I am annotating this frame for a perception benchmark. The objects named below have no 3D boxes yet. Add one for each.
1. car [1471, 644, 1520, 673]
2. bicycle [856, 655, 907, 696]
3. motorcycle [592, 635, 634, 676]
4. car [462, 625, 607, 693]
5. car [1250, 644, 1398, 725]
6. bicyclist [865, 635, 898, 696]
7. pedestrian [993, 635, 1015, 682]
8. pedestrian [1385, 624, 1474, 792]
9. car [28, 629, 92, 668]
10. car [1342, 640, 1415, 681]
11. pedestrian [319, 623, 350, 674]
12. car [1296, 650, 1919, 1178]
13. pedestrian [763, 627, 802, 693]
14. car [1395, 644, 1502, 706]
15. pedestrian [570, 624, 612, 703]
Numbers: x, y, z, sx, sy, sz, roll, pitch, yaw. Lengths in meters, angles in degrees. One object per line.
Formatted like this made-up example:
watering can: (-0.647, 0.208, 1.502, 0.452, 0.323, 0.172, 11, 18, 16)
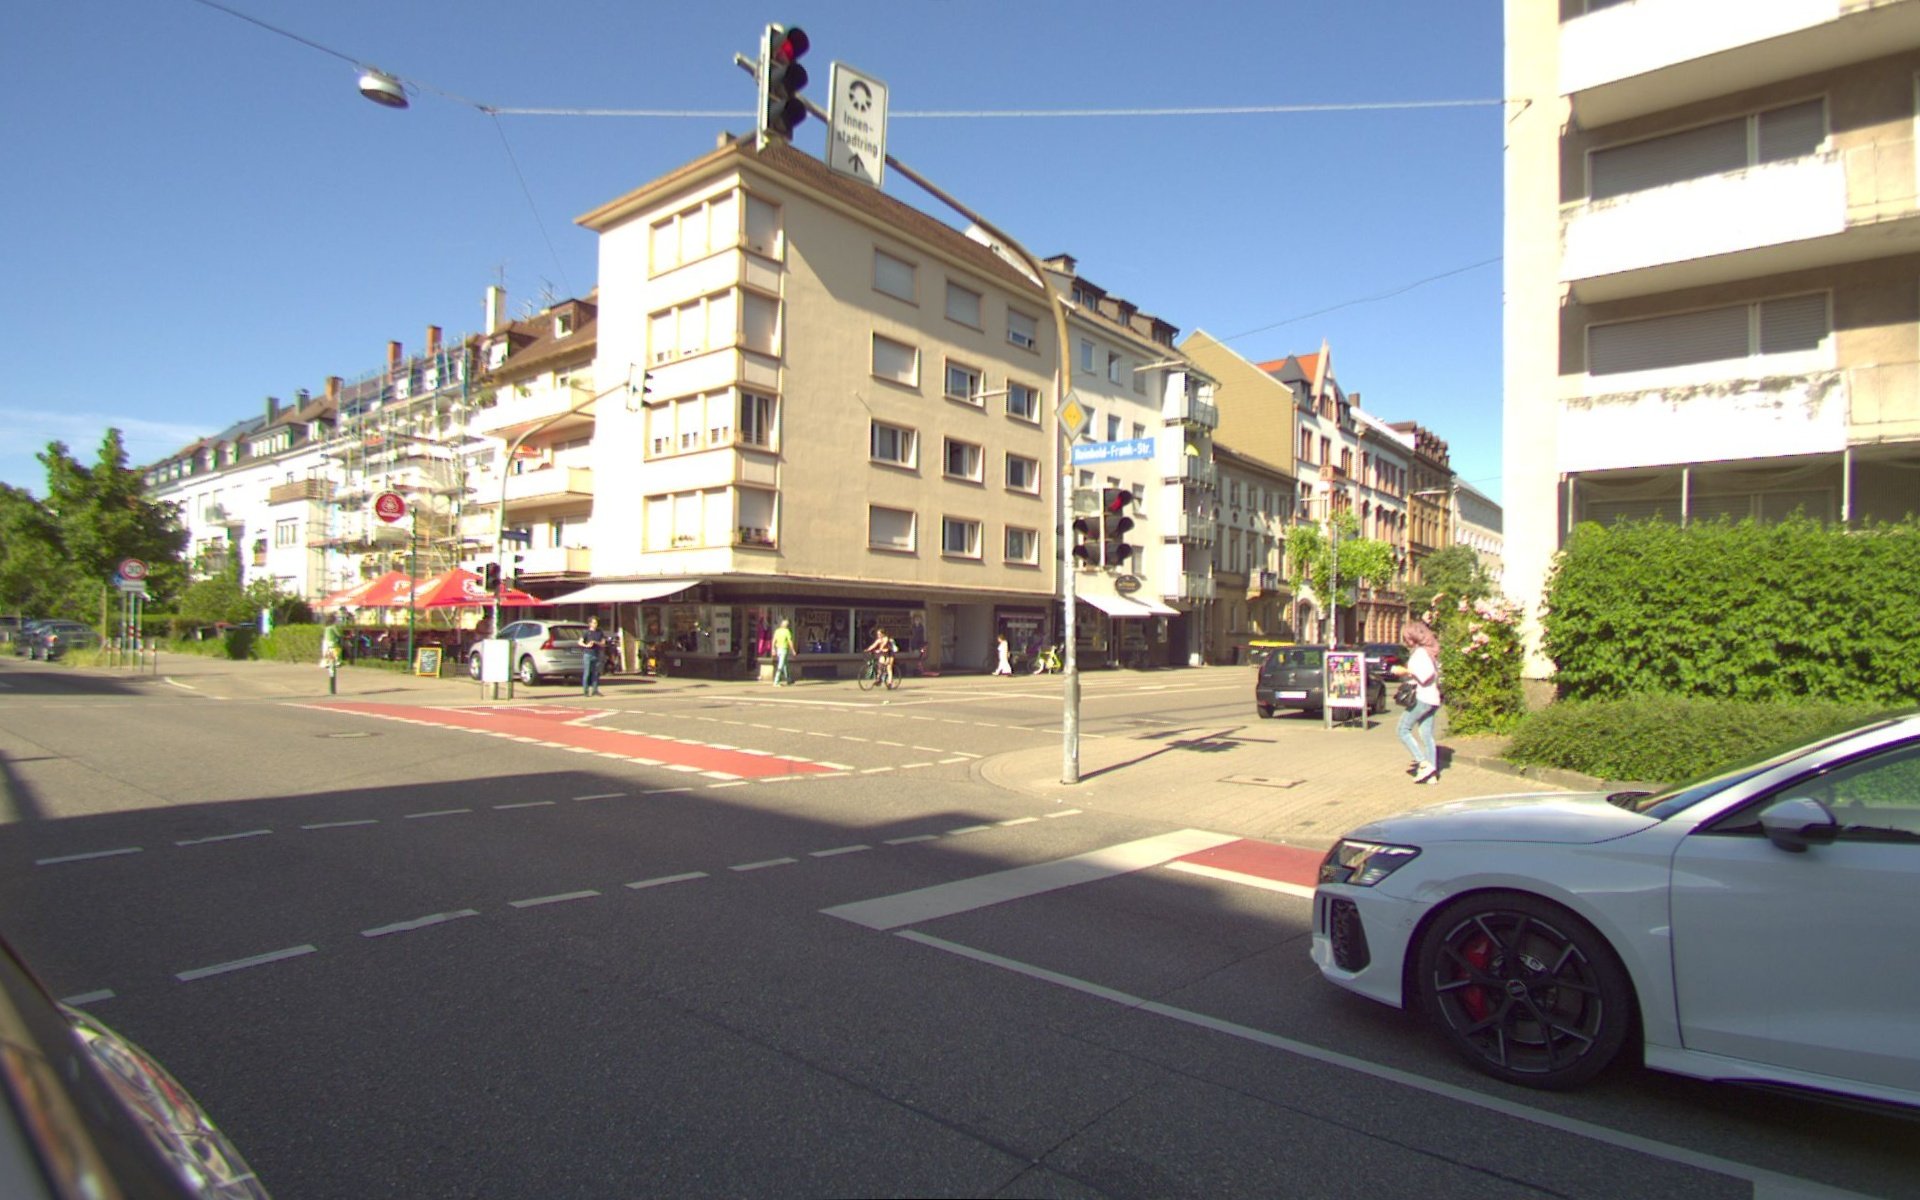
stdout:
car: (27.187, 2.929, 51.312, 1.691, 1.432, 3.793, -2, -3, 36)
bicycle: (-2.116, 2.026, 27.355, 0.449, 1.085, 1.546, -1, -3, 38)
motorcycle: (-12.063, 1.925, 35.114, 1.762, 1.378, 0.562, -2, -4, 42)
car: (-11.241, 1.501, 26.607, 4.301, 1.635, 1.742, -1, -3, 41)
car: (7.270, 1.618, 19.990, 1.725, 1.432, 3.793, -4, -4, 36)
bicyclist: (-2.120, 1.760, 27.398, 0.578, 1.620, 0.677, -1, -3, 38)
pedestrian: (1.561, 2.058, 35.787, 0.719, 1.658, 0.563, 1, -2, -1)
pedestrian: (4.915, 1.096, 10.596, 0.681, 1.671, 0.650, -1, -3, 41)
car: (-32.855, 1.756, 36.943, 3.091, 1.366, 1.306, -1, -3, 41)
car: (15.745, 2.234, 37.951, 1.691, 1.432, 3.793, -2, -3, 36)
pedestrian: (-19.178, 1.487, 31.017, 0.534, 1.522, 0.635, -1, 1, 38)
car: (3.573, 0.937, 3.148, 4.501, 1.417, 1.681, -1, -5, 39)
pedestrian: (-4.845, 1.619, 27.626, 0.682, 1.747, 0.719, 0, -2, 38)
car: (13.415, 1.982, 27.681, 1.833, 1.519, 4.450, -1, -3, 37)
pedestrian: (-8.220, 1.404, 22.555, 0.661, 1.731, 0.584, 3, -2, -41)
